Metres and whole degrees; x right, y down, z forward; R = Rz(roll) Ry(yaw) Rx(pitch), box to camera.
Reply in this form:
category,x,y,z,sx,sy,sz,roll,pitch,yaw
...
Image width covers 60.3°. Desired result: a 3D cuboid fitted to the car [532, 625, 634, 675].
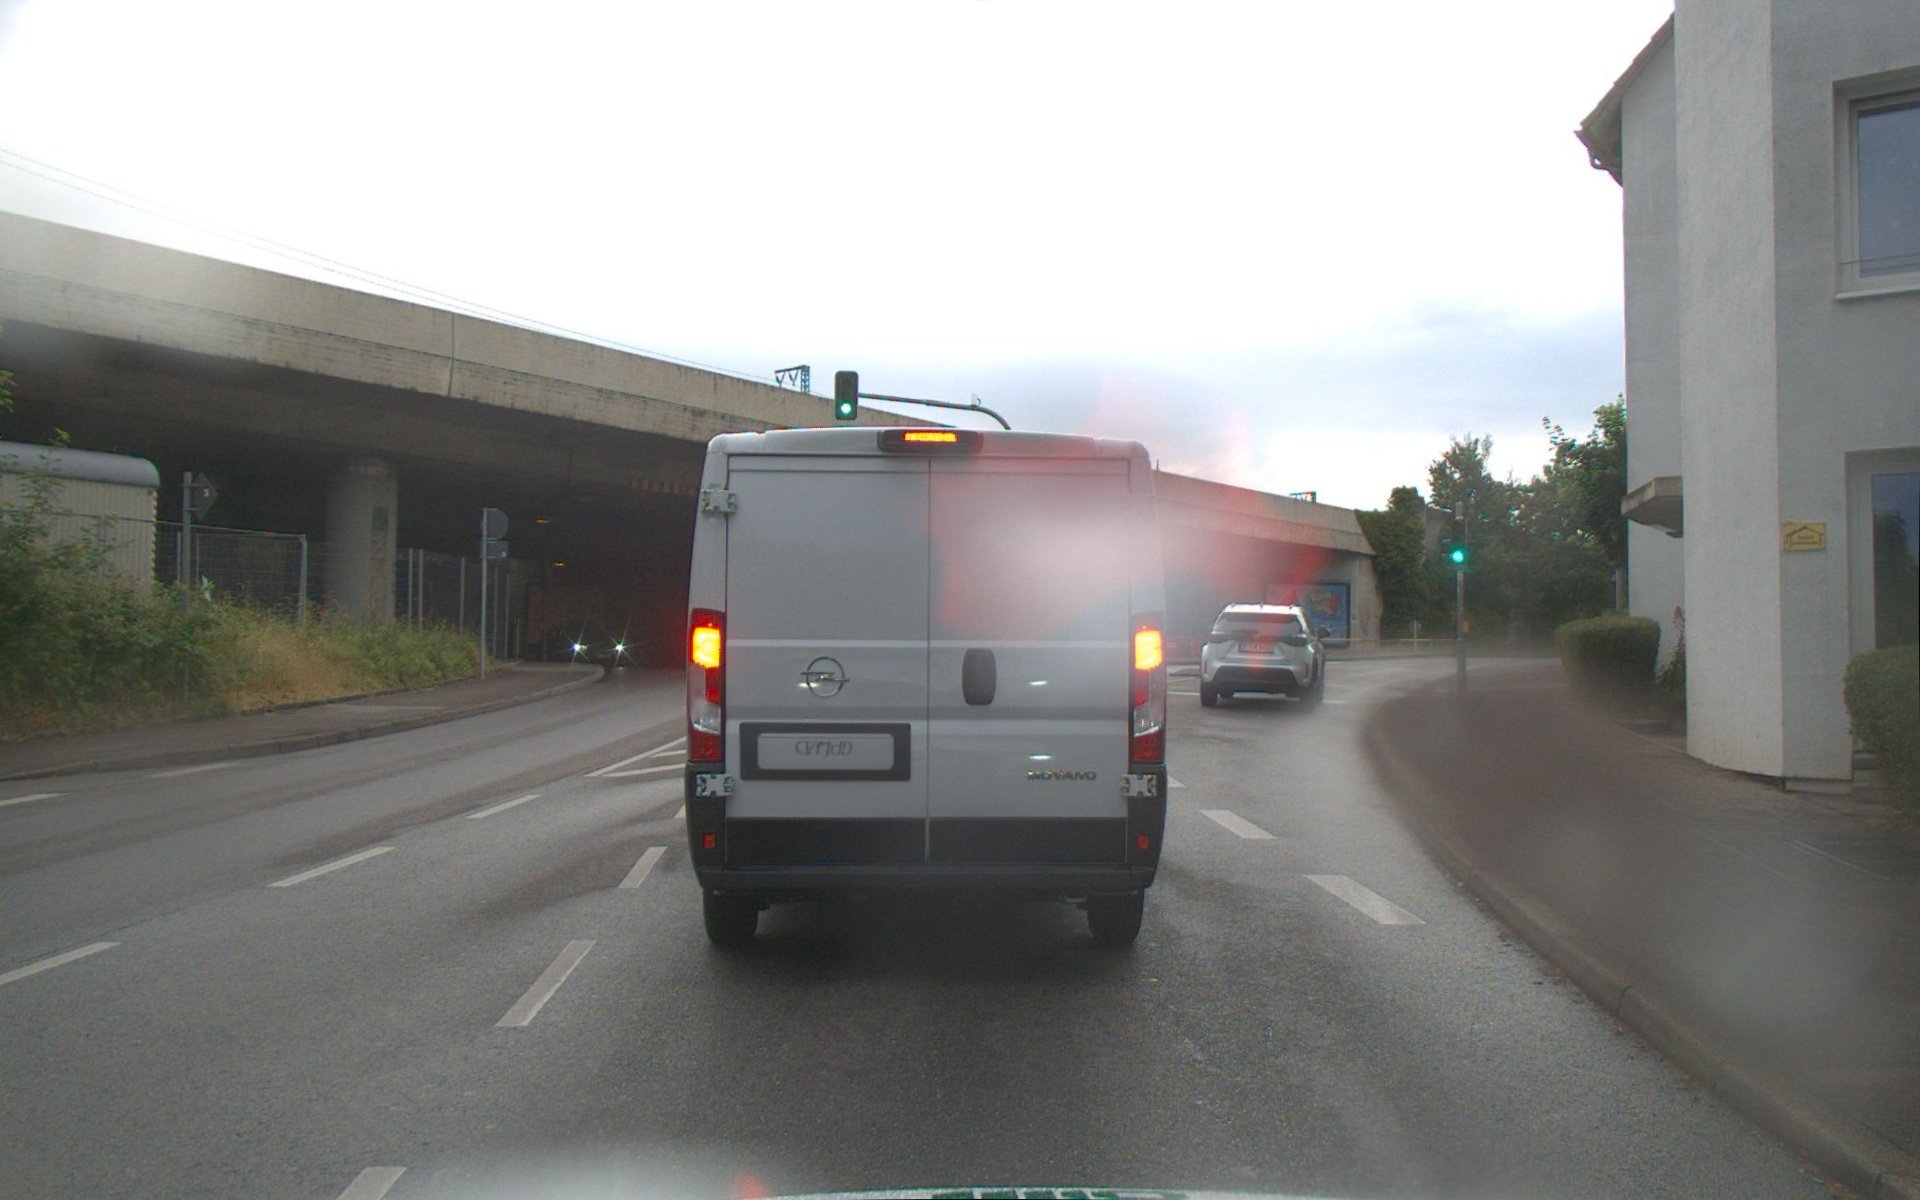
category,x,y,z,sx,sy,sz,roll,pitch,yaw
car,-12.767,1.662,55.884,1.975,1.557,4.449,1,0,-33

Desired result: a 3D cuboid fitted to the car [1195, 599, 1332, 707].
category,x,y,z,sx,sy,sz,roll,pitch,yaw
car,4.894,0.793,26.282,1.835,1.557,4.003,0,-1,15

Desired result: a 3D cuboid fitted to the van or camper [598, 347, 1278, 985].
category,x,y,z,sx,sy,sz,roll,pitch,yaw
van or camper,-0.186,0.280,8.912,2.644,2.459,4.900,0,-1,-3
